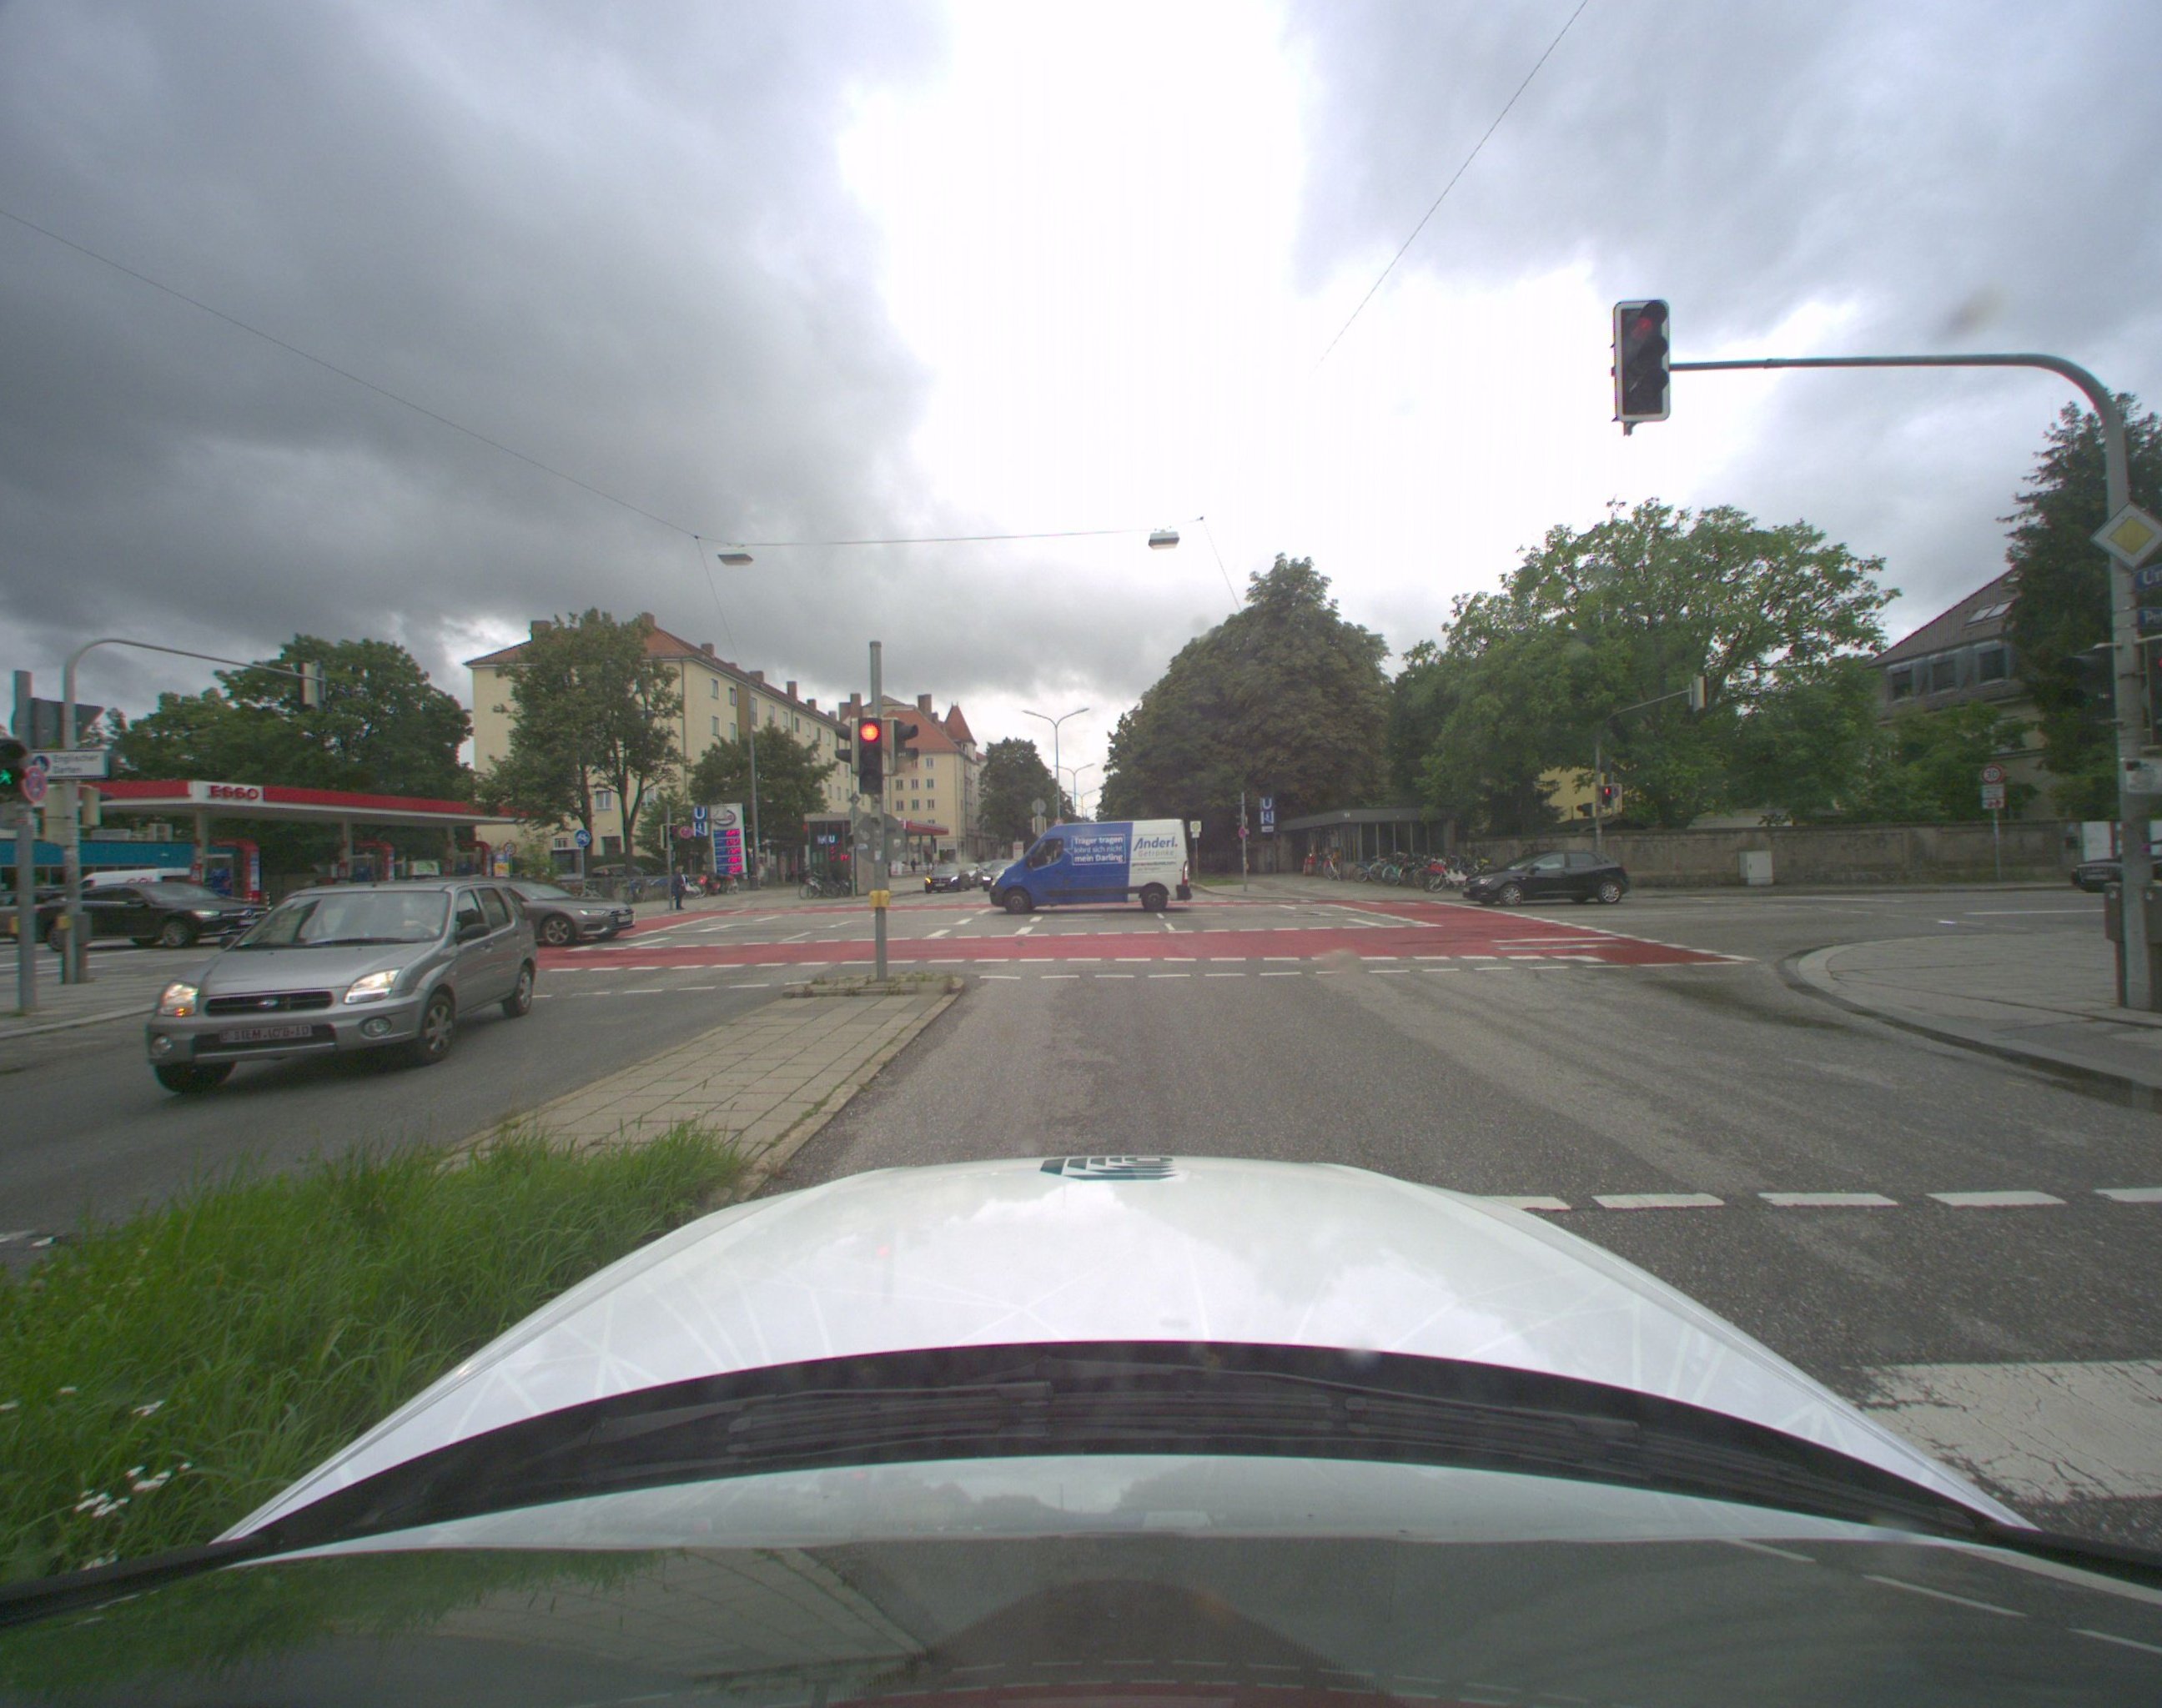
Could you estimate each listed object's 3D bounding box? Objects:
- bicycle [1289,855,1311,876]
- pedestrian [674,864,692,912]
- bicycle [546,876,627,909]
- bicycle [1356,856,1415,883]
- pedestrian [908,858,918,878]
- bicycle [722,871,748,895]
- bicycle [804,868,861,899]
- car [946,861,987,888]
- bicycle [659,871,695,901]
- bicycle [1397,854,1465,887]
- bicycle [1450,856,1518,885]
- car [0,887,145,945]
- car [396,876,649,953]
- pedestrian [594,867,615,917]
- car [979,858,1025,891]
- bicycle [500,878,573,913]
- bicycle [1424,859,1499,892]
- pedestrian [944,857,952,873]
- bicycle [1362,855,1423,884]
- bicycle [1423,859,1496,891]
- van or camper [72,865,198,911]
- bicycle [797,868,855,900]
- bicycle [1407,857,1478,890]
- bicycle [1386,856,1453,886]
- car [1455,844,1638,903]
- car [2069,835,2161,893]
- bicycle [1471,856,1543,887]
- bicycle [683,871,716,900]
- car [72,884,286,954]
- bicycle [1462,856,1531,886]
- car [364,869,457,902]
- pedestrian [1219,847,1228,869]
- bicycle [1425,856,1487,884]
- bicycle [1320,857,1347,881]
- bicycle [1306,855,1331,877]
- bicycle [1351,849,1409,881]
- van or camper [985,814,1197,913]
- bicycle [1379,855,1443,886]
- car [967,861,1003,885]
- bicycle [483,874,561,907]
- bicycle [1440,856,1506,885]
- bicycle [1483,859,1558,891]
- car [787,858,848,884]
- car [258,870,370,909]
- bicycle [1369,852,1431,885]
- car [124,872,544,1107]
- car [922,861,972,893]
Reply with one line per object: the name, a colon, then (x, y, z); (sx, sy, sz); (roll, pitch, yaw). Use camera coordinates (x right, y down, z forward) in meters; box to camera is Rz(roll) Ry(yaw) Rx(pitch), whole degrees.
bicycle: (11.205, 0.593, 41.804); (0.555, 1.014, 2.015); (-2, 0, 0)
pedestrian: (-14.554, 1.236, 29.783); (0.536, 1.695, 0.572); (-2, 0, -24)
bicycle: (-19.588, 1.514, 32.331); (2.720, 1.251, 0.786); (0, -1, -29)
bicycle: (12.218, 0.610, 32.699); (2.130, 1.014, 0.604); (-2, 0, 9)
pedestrian: (-16.534, 1.369, 80.154); (0.727, 2.014, 0.835); (0, -1, 1)
bicycle: (-17.406, 1.443, 41.017); (0.607, 1.145, 1.962); (-2, 0, -5)
bicycle: (-10.975, 1.305, 36.038); (2.276, 1.304, 0.694); (-2, 0, 2)
car: (-6.807, 1.204, 48.658); (1.753, 1.460, 4.001); (-2, 0, 1)
bicycle: (-17.862, 1.411, 36.049); (0.607, 1.236, 2.183); (-2, 0, -5)
bicycle: (12.411, 0.573, 28.928); (2.130, 1.101, 0.604); (-2, 0, 9)
bicycle: (14.863, 0.617, 30.082); (2.130, 1.014, 0.636); (-2, 0, 9)
car: (-30.778, 1.828, 24.106); (4.154, 1.514, 1.695); (-2, 0, 0)
car: (-11.944, 1.269, 17.604); (4.299, 1.412, 1.665); (-2, 0, 1)
pedestrian: (-16.688, 1.317, 28.526); (0.593, 1.695, 0.571); (-1, 0, -29)
car: (-3.885, 0.983, 40.589); (1.753, 1.493, 4.001); (-2, 0, 1)
bicycle: (-20.894, 1.586, 31.274); (2.180, 1.236, 0.763); (-2, 0, -10)
bicycle: (12.516, 0.712, 26.840); (2.130, 1.014, 0.604); (-2, 0, 9)
pedestrian: (-13.575, 1.120, 83.227); (0.693, 1.638, 0.738); (-2, 0, 1)
bicycle: (12.163, 0.597, 31.818); (2.130, 1.062, 0.604); (-2, 0, 9)
bicycle: (12.732, 0.697, 27.460); (2.130, 1.014, 0.636); (-2, 0, 9)
van or camper: (-51.981, 1.852, 44.819); (4.523, 2.323, 1.918); (-2, 0, -1)
bicycle: (-11.022, 1.303, 35.259); (2.262, 1.304, 0.704); (-2, 0, 2)
bicycle: (12.533, 0.681, 28.270); (2.130, 1.071, 0.604); (-2, 0, 9)
bicycle: (12.304, 0.629, 29.645); (2.130, 1.014, 0.604); (-2, 0, 9)
car: (12.154, 0.505, 21.480); (3.818, 1.397, 1.699); (-2, 0, 7)
car: (28.035, 0.202, 20.803); (3.673, 1.397, 1.641); (-2, 0, -1)
bicycle: (14.894, 0.604, 28.519); (2.130, 1.014, 0.636); (-2, 0, 9)
bicycle: (-17.257, 1.397, 36.857); (0.607, 1.236, 2.183); (-2, 0, -5)
car: (-22.375, 1.582, 20.302); (3.317, 1.514, 1.694); (-2, 0, -2)
bicycle: (14.922, 0.612, 29.287); (2.130, 1.014, 0.636); (-2, 0, 9)
car: (-40.270, 1.887, 48.973); (3.973, 1.784, 1.858); (-2, 0, 1)
pedestrian: (11.080, 0.325, 63.376); (0.674, 1.682, 0.684); (-2, 0, 7)
bicycle: (14.935, 0.639, 32.448); (2.130, 1.014, 0.636); (-2, 0, 9)
bicycle: (11.132, 0.647, 35.956); (0.555, 1.014, 2.015); (-2, 0, 0)
bicycle: (11.260, 0.560, 38.689); (0.555, 1.014, 2.015); (-2, 0, 0)
bicycle: (12.234, 0.458, 33.419); (2.130, 1.218, 0.604); (-2, 0, 9)
van or camper: (0.342, 0.263, 22.475); (5.525, 2.469, 2.070); (-2, 0, 5)
bicycle: (12.284, 0.598, 30.376); (2.130, 1.086, 0.604); (-2, 0, 9)
car: (-6.414, 1.266, 54.786); (1.753, 1.460, 4.001); (-2, 0, 1)
bicycle: (-21.882, 1.428, 31.932); (2.394, 1.251, 0.789); (0, -1, -10)
bicycle: (14.832, 0.623, 30.868); (2.130, 1.014, 0.636); (-2, 0, 9)
bicycle: (14.926, 0.697, 27.720); (2.130, 1.014, 0.636); (-2, 0, 9)
car: (-20.171, 1.281, 62.499); (3.976, 1.838, 1.879); (-2, 0, -2)
car: (-39.549, 1.800, 42.053); (3.973, 1.784, 1.858); (-2, 0, 1)
bicycle: (12.173, 0.556, 31.116); (2.130, 1.178, 0.604); (-2, 0, 9)
car: (-6.417, 0.967, 7.554); (1.665, 1.517, 3.604); (-2, 0, -22)
car: (-6.815, 1.141, 41.860); (1.753, 1.460, 4.001); (-2, 0, 1)
